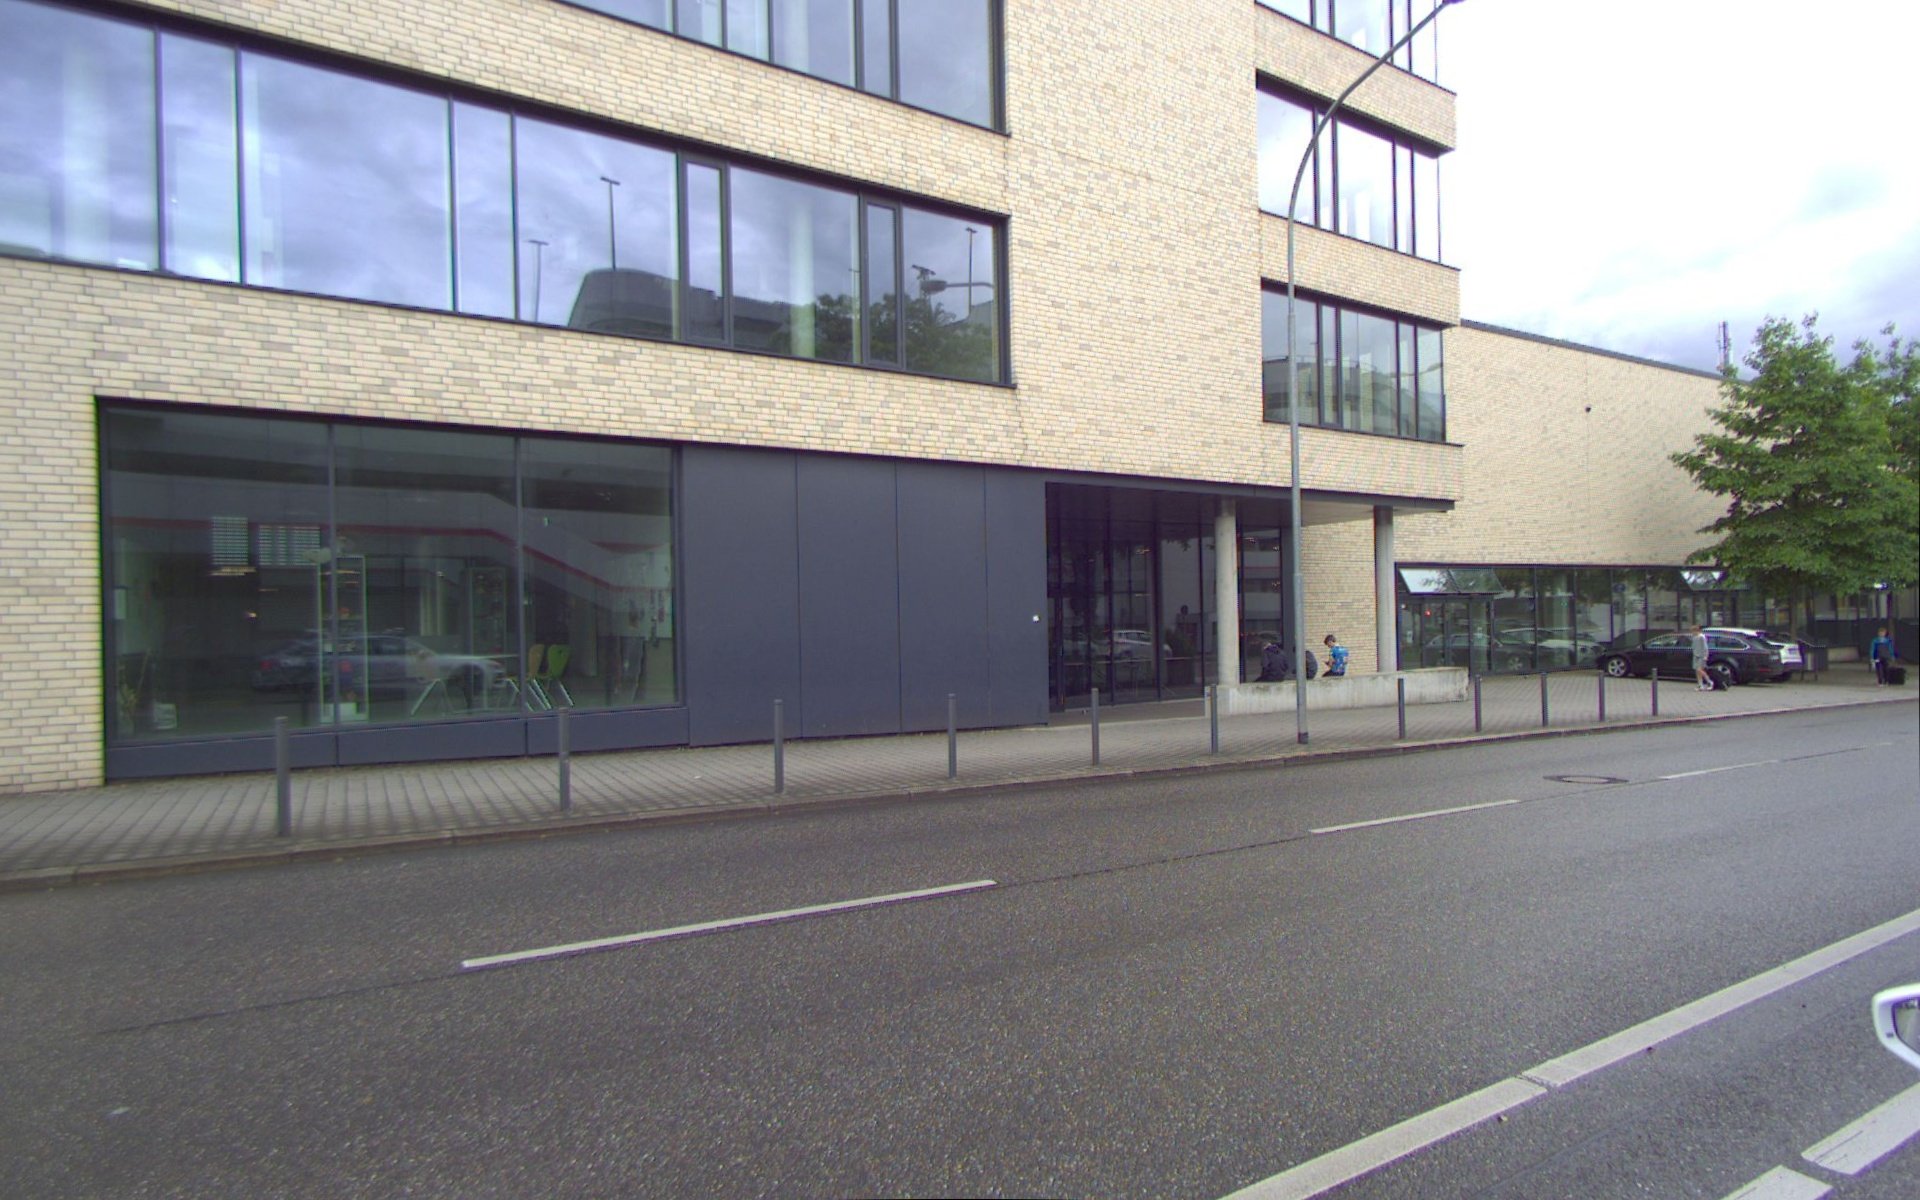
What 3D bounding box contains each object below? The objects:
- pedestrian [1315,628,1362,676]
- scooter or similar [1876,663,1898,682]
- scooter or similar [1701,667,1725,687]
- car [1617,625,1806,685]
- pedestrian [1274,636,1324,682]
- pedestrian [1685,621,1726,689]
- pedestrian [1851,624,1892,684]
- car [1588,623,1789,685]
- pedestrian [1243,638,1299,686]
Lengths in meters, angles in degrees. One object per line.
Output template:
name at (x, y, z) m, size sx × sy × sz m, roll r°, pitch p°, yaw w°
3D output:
pedestrian at (7.561, 1.031, 20.062) m, size 0.519 × 0.897 × 0.676 m, roll 2°, pitch 0°, yaw -36°
scooter or similar at (28.468, 2.236, 30.847) m, size 0.493 × 0.543 × 0.358 m, roll 3°, pitch -1°, yaw -31°
scooter or similar at (19.540, 1.993, 26.070) m, size 0.609 × 0.507 × 0.278 m, roll 2°, pitch 0°, yaw -30°
car at (23.483, 1.658, 31.542) m, size 1.980 × 1.595 × 4.388 m, roll -1°, pitch 1°, yaw -35°
pedestrian at (6.576, 1.141, 19.505) m, size 0.719 × 0.856 × 0.583 m, roll 2°, pitch -1°, yaw -30°
pedestrian at (19.194, 1.404, 25.865) m, size 0.473 × 1.720 × 0.672 m, roll 2°, pitch 0°, yaw -30°
pedestrian at (27.699, 1.646, 30.532) m, size 0.746 × 1.748 × 0.685 m, roll 4°, pitch -1°, yaw -31°
car at (21.420, 1.514, 29.707) m, size 1.981 × 1.608 × 4.437 m, roll 1°, pitch -1°, yaw -36°
pedestrian at (5.892, 1.173, 19.044) m, size 0.752 × 0.796 × 0.595 m, roll 9°, pitch -4°, yaw -30°
